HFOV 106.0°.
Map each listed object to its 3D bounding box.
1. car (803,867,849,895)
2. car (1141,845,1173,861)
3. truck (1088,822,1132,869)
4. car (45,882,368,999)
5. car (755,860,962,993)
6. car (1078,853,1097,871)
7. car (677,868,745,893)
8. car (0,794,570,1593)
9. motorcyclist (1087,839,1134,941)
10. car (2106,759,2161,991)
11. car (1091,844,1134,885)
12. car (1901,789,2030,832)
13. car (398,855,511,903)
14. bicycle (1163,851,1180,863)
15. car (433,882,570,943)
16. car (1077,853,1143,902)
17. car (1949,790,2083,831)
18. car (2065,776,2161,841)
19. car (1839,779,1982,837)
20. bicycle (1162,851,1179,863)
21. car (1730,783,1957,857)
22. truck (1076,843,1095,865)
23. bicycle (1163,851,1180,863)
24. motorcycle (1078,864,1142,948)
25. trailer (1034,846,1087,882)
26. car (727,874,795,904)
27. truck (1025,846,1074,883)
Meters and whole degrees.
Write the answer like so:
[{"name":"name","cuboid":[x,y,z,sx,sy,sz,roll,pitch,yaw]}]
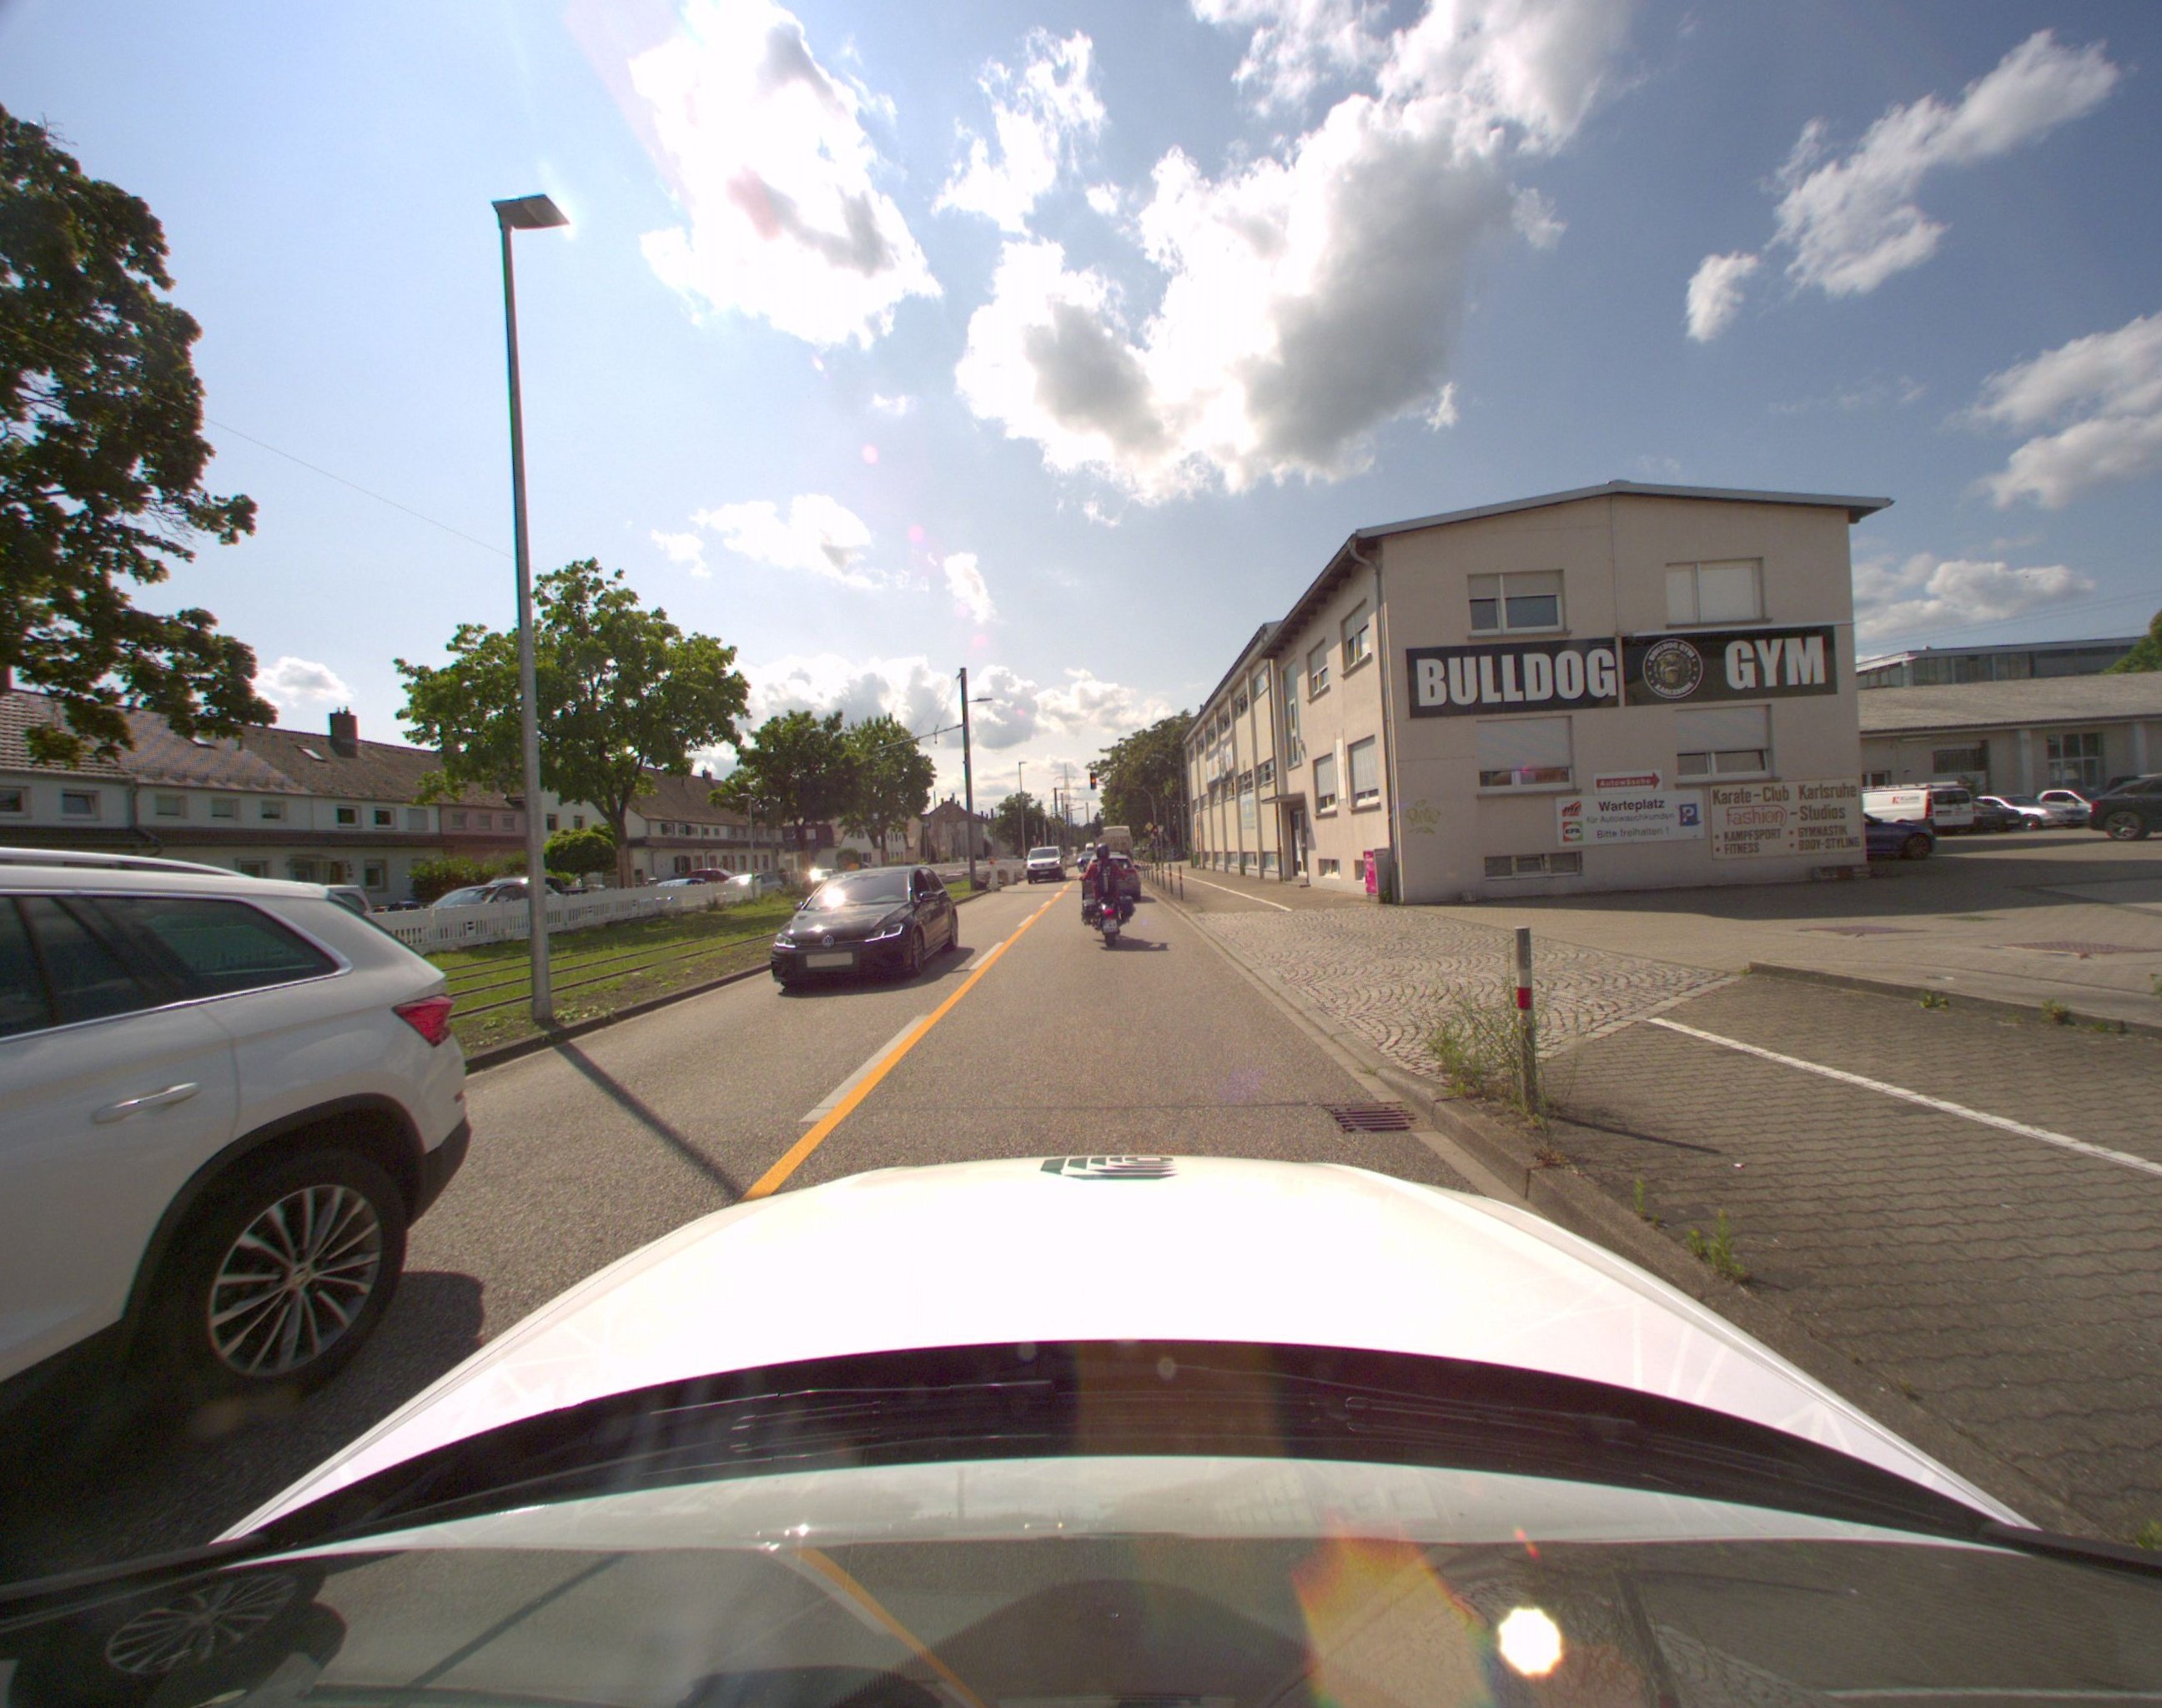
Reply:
[{"name":"car","cuboid":[-15.071,1.573,48.246,1.538,1.376,4.246,-5,0,-4]},{"name":"car","cuboid":[9.620,-0.086,103.214,4.023,1.926,1.781,-1,-1,-43]},{"name":"truck","cuboid":[2.289,-0.576,61.085,2.954,3.173,7.773,-1,0,4]},{"name":"car","cuboid":[-15.794,1.461,15.070,1.617,1.651,3.900,-4,-1,1]},{"name":"car","cuboid":[-2.899,0.867,11.509,1.686,1.412,3.860,-5,-1,1]},{"name":"car","cuboid":[0.653,0.726,75.696,1.639,1.498,4.270,-3,0,1]},{"name":"car","cuboid":[-26.434,1.875,58.223,3.973,1.509,1.726,-3,0,0]},{"name":"car","cuboid":[-3.214,0.764,1.286,1.818,1.666,4.463,-4,-1,1]},{"name":"motorcyclist","cuboid":[0.478,0.574,13.214,0.695,1.604,0.692,-1,-1,1]},{"name":"car","cuboid":[8.517,0.090,3.663,1.939,1.625,4.615,-3,0,0]},{"name":"car","cuboid":[1.593,0.441,39.865,1.893,1.712,4.724,-3,1,3]},{"name":"car","cuboid":[35.281,-1.696,32.595,1.491,1.480,3.416,-1,0,2]},{"name":"car","cuboid":[-28.641,1.106,37.417,1.986,2.014,4.000,-1,-1,1]},{"name":"bicycle","cuboid":[9.288,0.294,83.654,1.699,1.172,0.439,-1,-1,6]},{"name":"car","cuboid":[-15.637,1.528,22.145,1.345,1.377,3.115,-4,-1,1]},{"name":"car","cuboid":[0.847,0.687,25.785,1.727,1.403,4.082,-1,0,-3]},{"name":"car","cuboid":[37.386,-1.700,32.690,1.409,1.397,3.473,-1,0,2]},{"name":"car","cuboid":[27.101,-1.175,19.834,1.507,1.543,3.943,-4,0,2]},{"name":"car","cuboid":[32.755,-1.768,32.311,1.780,2.032,3.846,-1,-1,2]},{"name":"bicycle","cuboid":[9.292,0.313,84.163,1.699,1.172,0.439,-1,-1,6]},{"name":"car","cuboid":[19.217,-0.822,20.659,3.978,1.716,1.998,-1,-1,-4]},{"name":"truck","cuboid":[0.583,-0.016,101.161,2.084,2.476,5.200,-5,1,2]},{"name":"bicycle","cuboid":[9.206,0.287,83.203,1.699,1.172,0.439,-1,-1,6]},{"name":"motorcycle","cuboid":[0.478,0.803,13.517,0.939,1.200,2.473,-1,0,2]},{"name":"trailer","cuboid":[-1.145,0.540,48.491,2.050,1.835,5.499,-5,-1,9]},{"name":"car","cuboid":[-14.829,1.592,37.926,1.497,1.176,3.749,-3,0,1]},{"name":"truck","cuboid":[-1.660,0.521,44.574,1.810,1.909,5.127,-1,0,7]}]
